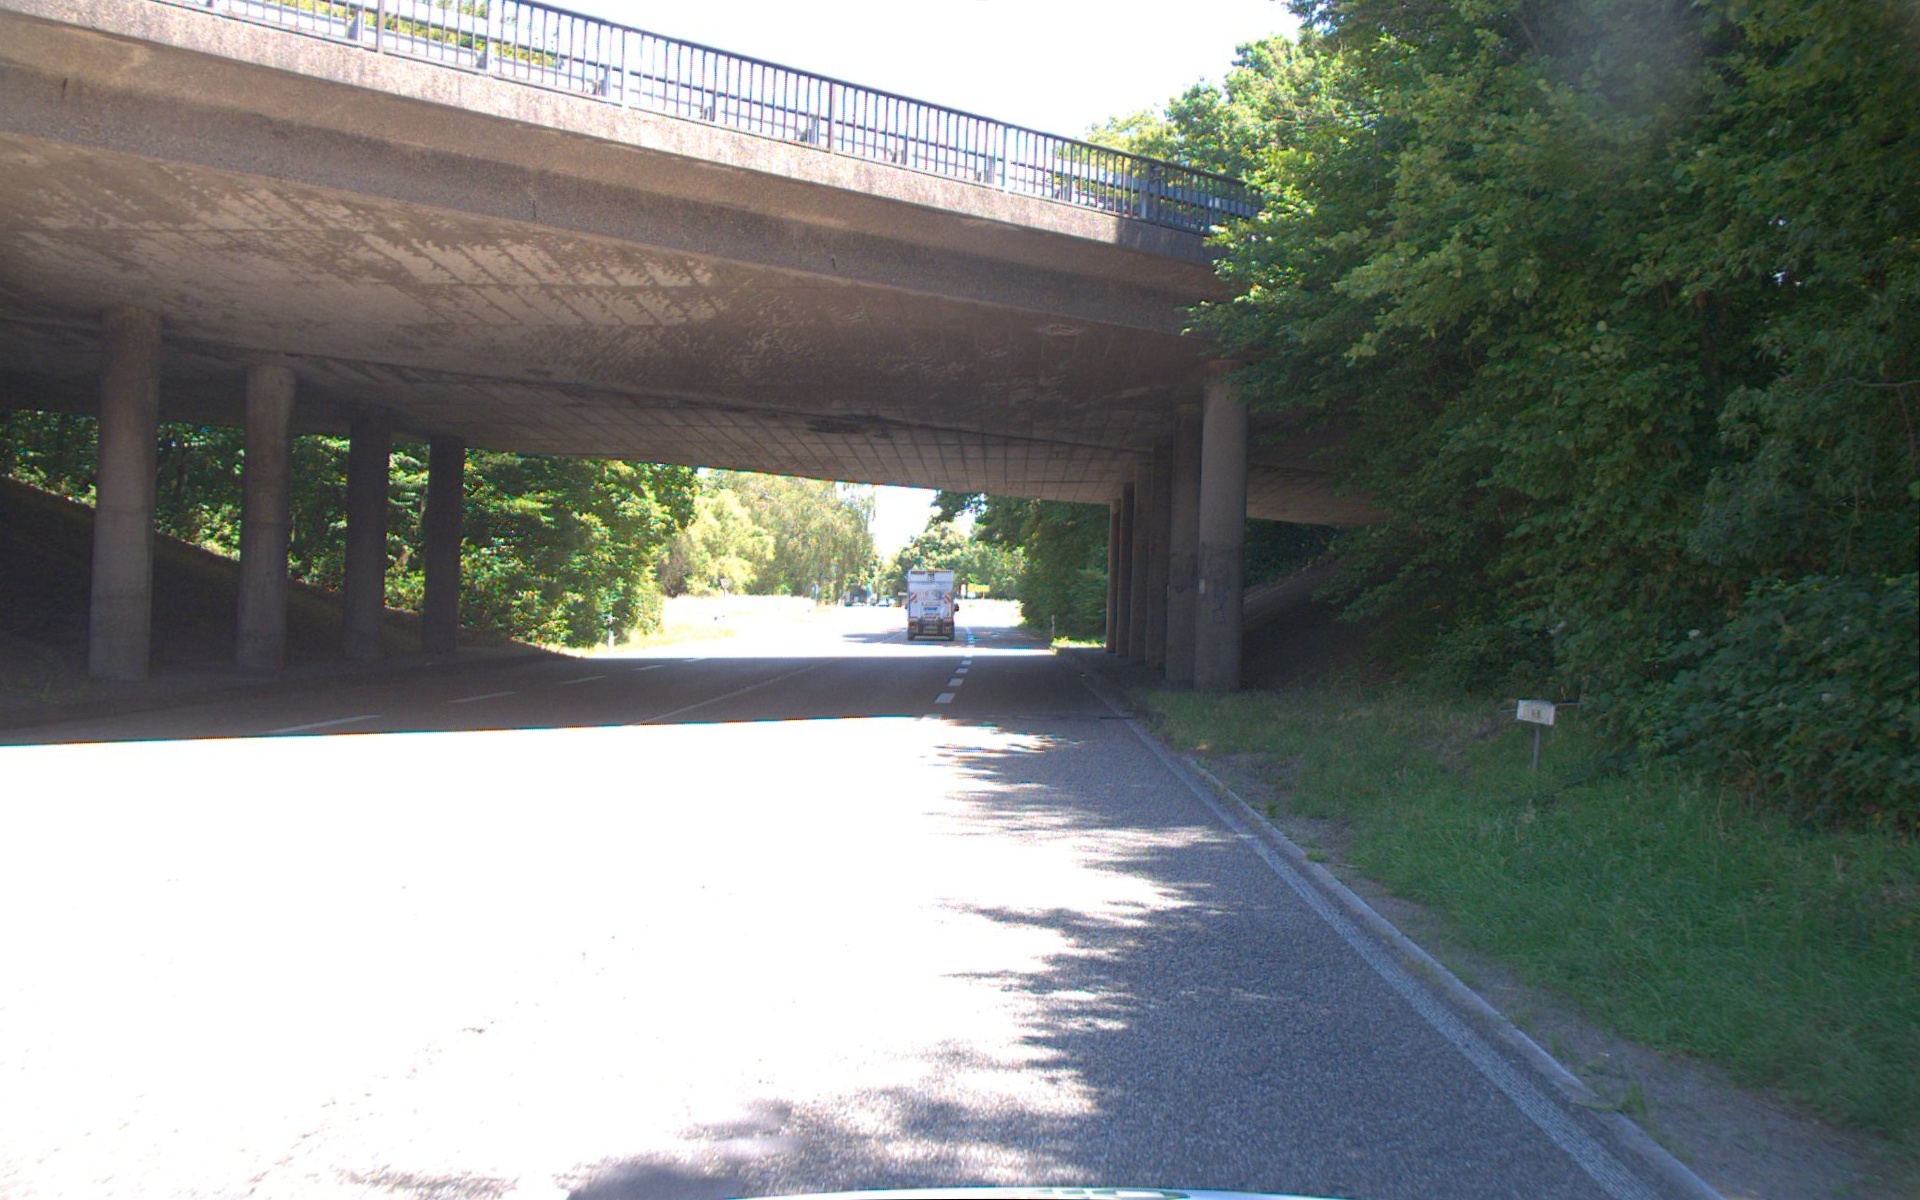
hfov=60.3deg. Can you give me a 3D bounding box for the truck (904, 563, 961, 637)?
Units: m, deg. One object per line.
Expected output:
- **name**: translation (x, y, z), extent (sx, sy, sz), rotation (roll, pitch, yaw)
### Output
- **truck**: translation (-1.145, 0.047, 71.885), extent (2.194, 3.037, 5.894), rotation (2, -1, 1)
